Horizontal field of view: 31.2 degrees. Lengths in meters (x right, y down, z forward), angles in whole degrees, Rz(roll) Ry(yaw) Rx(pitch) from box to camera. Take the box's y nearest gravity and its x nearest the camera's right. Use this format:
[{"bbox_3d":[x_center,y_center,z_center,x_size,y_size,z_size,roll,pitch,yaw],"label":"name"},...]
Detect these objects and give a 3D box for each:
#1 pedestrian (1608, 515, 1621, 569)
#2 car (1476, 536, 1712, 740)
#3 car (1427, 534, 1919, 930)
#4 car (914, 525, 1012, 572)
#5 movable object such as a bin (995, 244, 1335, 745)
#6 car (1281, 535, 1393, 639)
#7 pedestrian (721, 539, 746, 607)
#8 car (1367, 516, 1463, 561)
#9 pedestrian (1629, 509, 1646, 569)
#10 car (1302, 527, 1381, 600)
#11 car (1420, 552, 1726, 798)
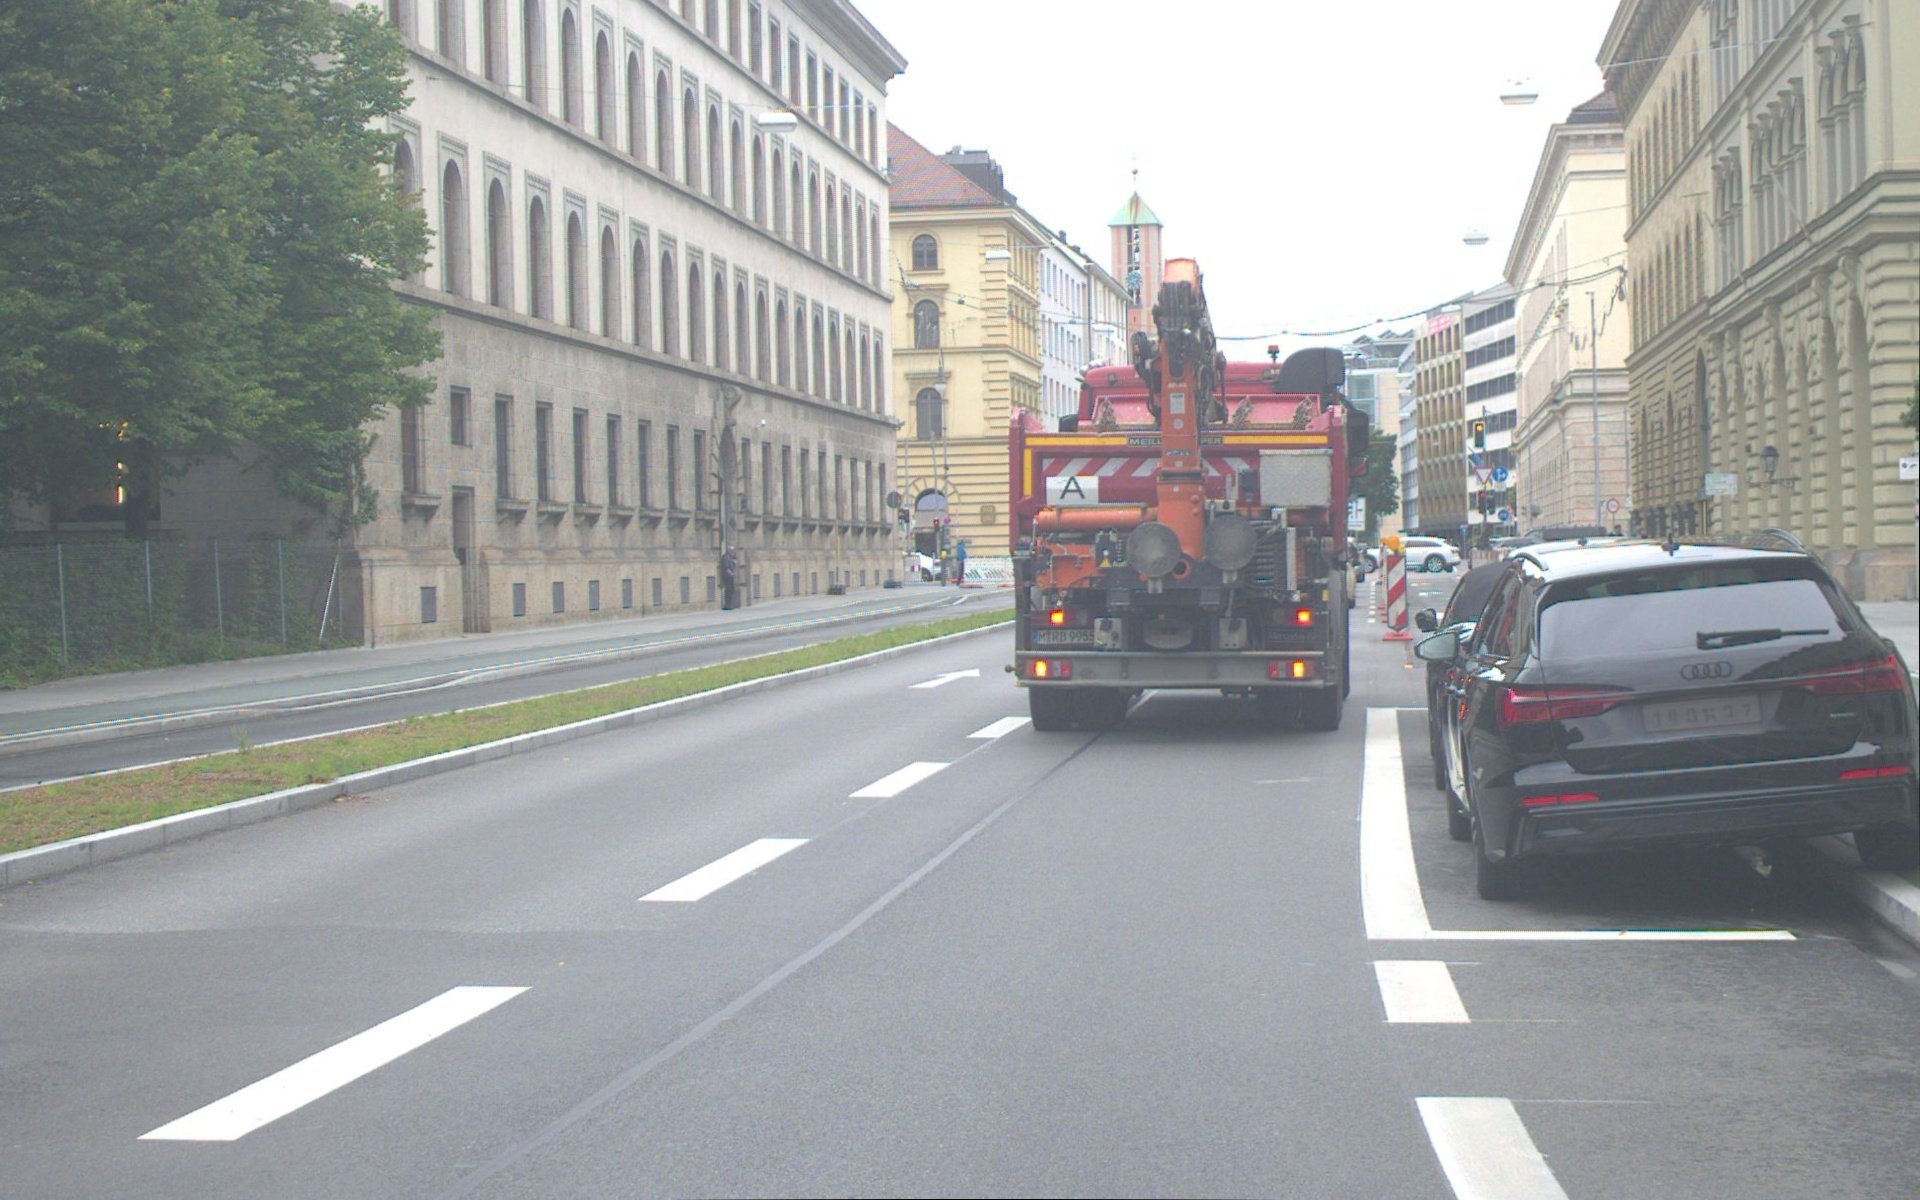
[{"bbox_3d":[20.072,-1.782,105.394,0.337,1.666,0.440,-1,1,8],"label":"pedestrian"},{"bbox_3d":[5.014,0.258,27.524,1.610,1.490,3.423,-1,1,7],"label":"car"},{"bbox_3d":[3.123,0.473,15.625,1.802,1.475,4.686,-2,1,6],"label":"car"},{"bbox_3d":[0.151,-2.262,151.406,3.988,1.941,1.999,-1,1,9],"label":"car"},{"bbox_3d":[1.784,-0.813,27.847,2.424,3.599,5.850,-1,1,6],"label":"movable object such as a bin"},{"bbox_3d":[5.799,-0.221,52.689,1.610,1.490,3.423,-1,1,7],"label":"car"},{"bbox_3d":[-6.167,-0.737,93.473,0.589,1.825,0.498,0,1,6],"label":"pedestrian"},{"bbox_3d":[19.588,-2.639,147.976,3.988,1.813,1.895,-1,1,9],"label":"car"},{"bbox_3d":[20.747,-1.878,105.250,0.446,1.830,0.556,-1,1,8],"label":"pedestrian"},{"bbox_3d":[8.231,-0.805,74.060,1.610,1.490,3.423,-1,1,7],"label":"car"},{"bbox_3d":[3.817,0.399,21.985,1.680,1.381,4.425,0,1,7],"label":"car"}]
